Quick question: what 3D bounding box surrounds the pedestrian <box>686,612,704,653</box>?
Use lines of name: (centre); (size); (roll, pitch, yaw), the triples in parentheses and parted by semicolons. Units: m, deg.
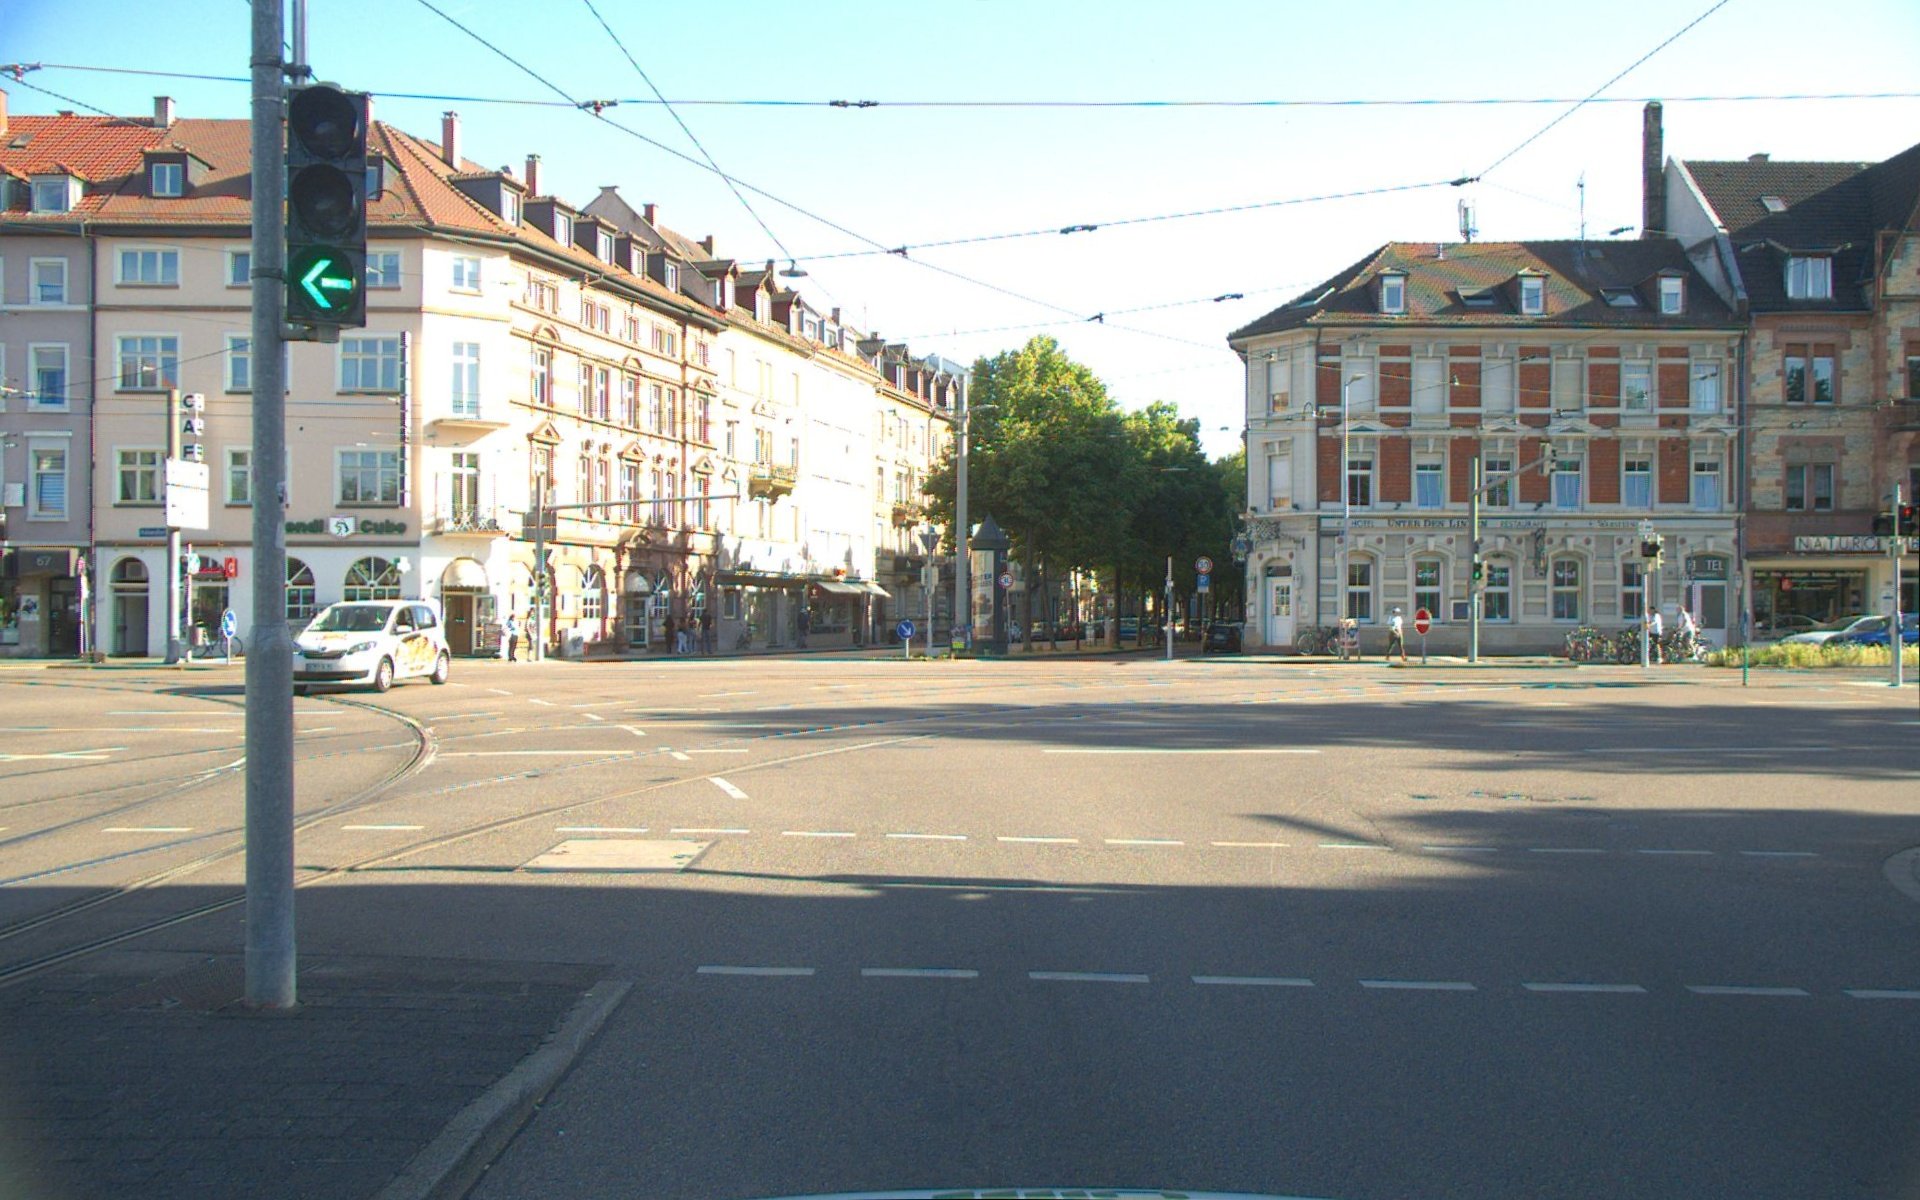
pedestrian: (-11.127, 1.358, 69.419); (0.539, 1.670, 0.633); (0, -1, 17)

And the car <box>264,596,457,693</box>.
car: (-9.965, 0.711, 27.762); (1.681, 1.523, 3.585); (0, 0, 5)

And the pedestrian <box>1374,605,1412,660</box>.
pedestrian: (13.667, 1.010, 52.189); (0.709, 1.699, 0.928); (0, -1, -34)

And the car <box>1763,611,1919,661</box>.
car: (26.001, 1.037, 48.592); (3.906, 1.437, 1.845); (0, 0, -2)

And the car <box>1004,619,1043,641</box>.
car: (4.515, 2.130, 117.056); (1.951, 1.523, 4.037); (0, 0, 13)

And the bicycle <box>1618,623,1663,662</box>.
bicycle: (21.859, 1.340, 53.145); (0.663, 1.211, 1.967); (0, 0, 1)

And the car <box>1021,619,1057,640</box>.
car: (5.863, 2.167, 122.311); (1.951, 1.523, 4.037); (0, 0, 13)

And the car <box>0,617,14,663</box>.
car: (-32.442, 1.260, 51.818); (4.547, 1.465, 1.743); (0, -1, -4)

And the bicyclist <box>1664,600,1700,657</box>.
bicyclist: (22.621, 0.888, 51.824); (0.884, 1.795, 0.601); (0, -1, 1)

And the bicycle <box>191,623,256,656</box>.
bicycle: (-24.864, 1.338, 55.858); (1.906, 1.086, 0.582); (0, -1, -8)

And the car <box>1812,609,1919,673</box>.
car: (25.948, 1.104, 45.595); (3.906, 1.697, 1.954); (0, 0, -1)

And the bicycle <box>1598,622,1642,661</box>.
bicycle: (21.196, 1.309, 53.143); (0.663, 1.211, 1.967); (0, 0, 1)

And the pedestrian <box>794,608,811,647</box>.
pedestrian: (-7.955, 1.366, 83.396); (0.667, 1.942, 0.633); (0, -1, 15)

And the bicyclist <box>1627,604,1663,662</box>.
bicyclist: (21.080, 1.010, 50.895); (0.854, 1.795, 0.602); (0, -1, 2)

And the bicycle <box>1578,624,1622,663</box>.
bicycle: (20.558, 1.375, 53.133); (0.663, 1.211, 1.967); (0, 0, 1)

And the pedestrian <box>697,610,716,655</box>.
pedestrian: (-10.752, 1.378, 70.168); (0.567, 1.868, 0.633); (0, -1, 15)

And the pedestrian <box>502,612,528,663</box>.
pedestrian: (-14.851, 1.254, 55.233); (0.661, 1.670, 0.579); (0, -1, 13)

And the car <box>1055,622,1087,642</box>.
car: (9.188, 2.615, 136.287); (1.951, 1.523, 4.037); (0, 0, 13)

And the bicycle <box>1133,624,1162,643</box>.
bicycle: (11.221, 1.992, 99.046); (0.577, 1.086, 1.924); (0, 0, -37)

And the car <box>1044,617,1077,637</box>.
car: (8.023, 2.131, 131.561); (1.951, 1.523, 4.037); (0, 0, 13)

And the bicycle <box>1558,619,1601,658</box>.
bicycle: (19.869, 1.237, 53.098); (0.663, 1.211, 1.967); (0, 0, 1)

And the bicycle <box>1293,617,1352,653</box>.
bicycle: (12.497, 1.213, 57.005); (1.919, 1.211, 0.546); (0, -1, 4)

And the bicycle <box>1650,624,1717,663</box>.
bicycle: (23.080, 1.369, 52.765); (1.926, 1.211, 0.677); (0, -1, -13)

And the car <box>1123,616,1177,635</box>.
car: (15.429, 2.072, 134.356); (3.910, 1.572, 1.997); (-1, 0, 28)

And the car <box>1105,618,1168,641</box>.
car: (12.286, 2.054, 115.374); (3.910, 1.572, 1.997); (-1, 0, 28)

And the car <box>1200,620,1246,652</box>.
car: (13.123, 1.761, 82.243); (1.951, 1.523, 4.037); (0, 0, 13)

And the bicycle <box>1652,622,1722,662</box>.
bicycle: (22.736, 1.310, 51.732); (1.920, 1.211, 0.601); (0, -1, 0)

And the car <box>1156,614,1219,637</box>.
car: (15.968, 1.793, 116.104); (3.913, 1.572, 1.996); (-1, 0, 30)

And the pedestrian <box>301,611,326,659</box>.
pedestrian: (-20.863, 1.129, 53.403); (0.646, 1.551, 0.693); (0, -1, -13)

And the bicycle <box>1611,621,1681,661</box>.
bicycle: (21.098, 1.259, 50.885); (1.920, 1.211, 0.602); (0, -1, 2)

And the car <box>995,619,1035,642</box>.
car: (3.767, 2.065, 112.559); (1.951, 1.523, 4.037); (0, 0, 13)

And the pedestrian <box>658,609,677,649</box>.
pedestrian: (-12.305, 1.198, 69.520); (0.614, 1.670, 0.538); (0, -1, 17)

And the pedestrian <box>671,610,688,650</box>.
pedestrian: (-11.757, 1.274, 69.388); (0.539, 1.670, 0.538); (0, -1, 16)

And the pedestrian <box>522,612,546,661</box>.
pedestrian: (-14.579, 1.234, 56.649); (0.617, 1.670, 0.553); (0, -1, 13)

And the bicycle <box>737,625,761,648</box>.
bicycle: (-10.083, 1.734, 79.038); (0.484, 1.086, 1.771); (0, 0, 16)
